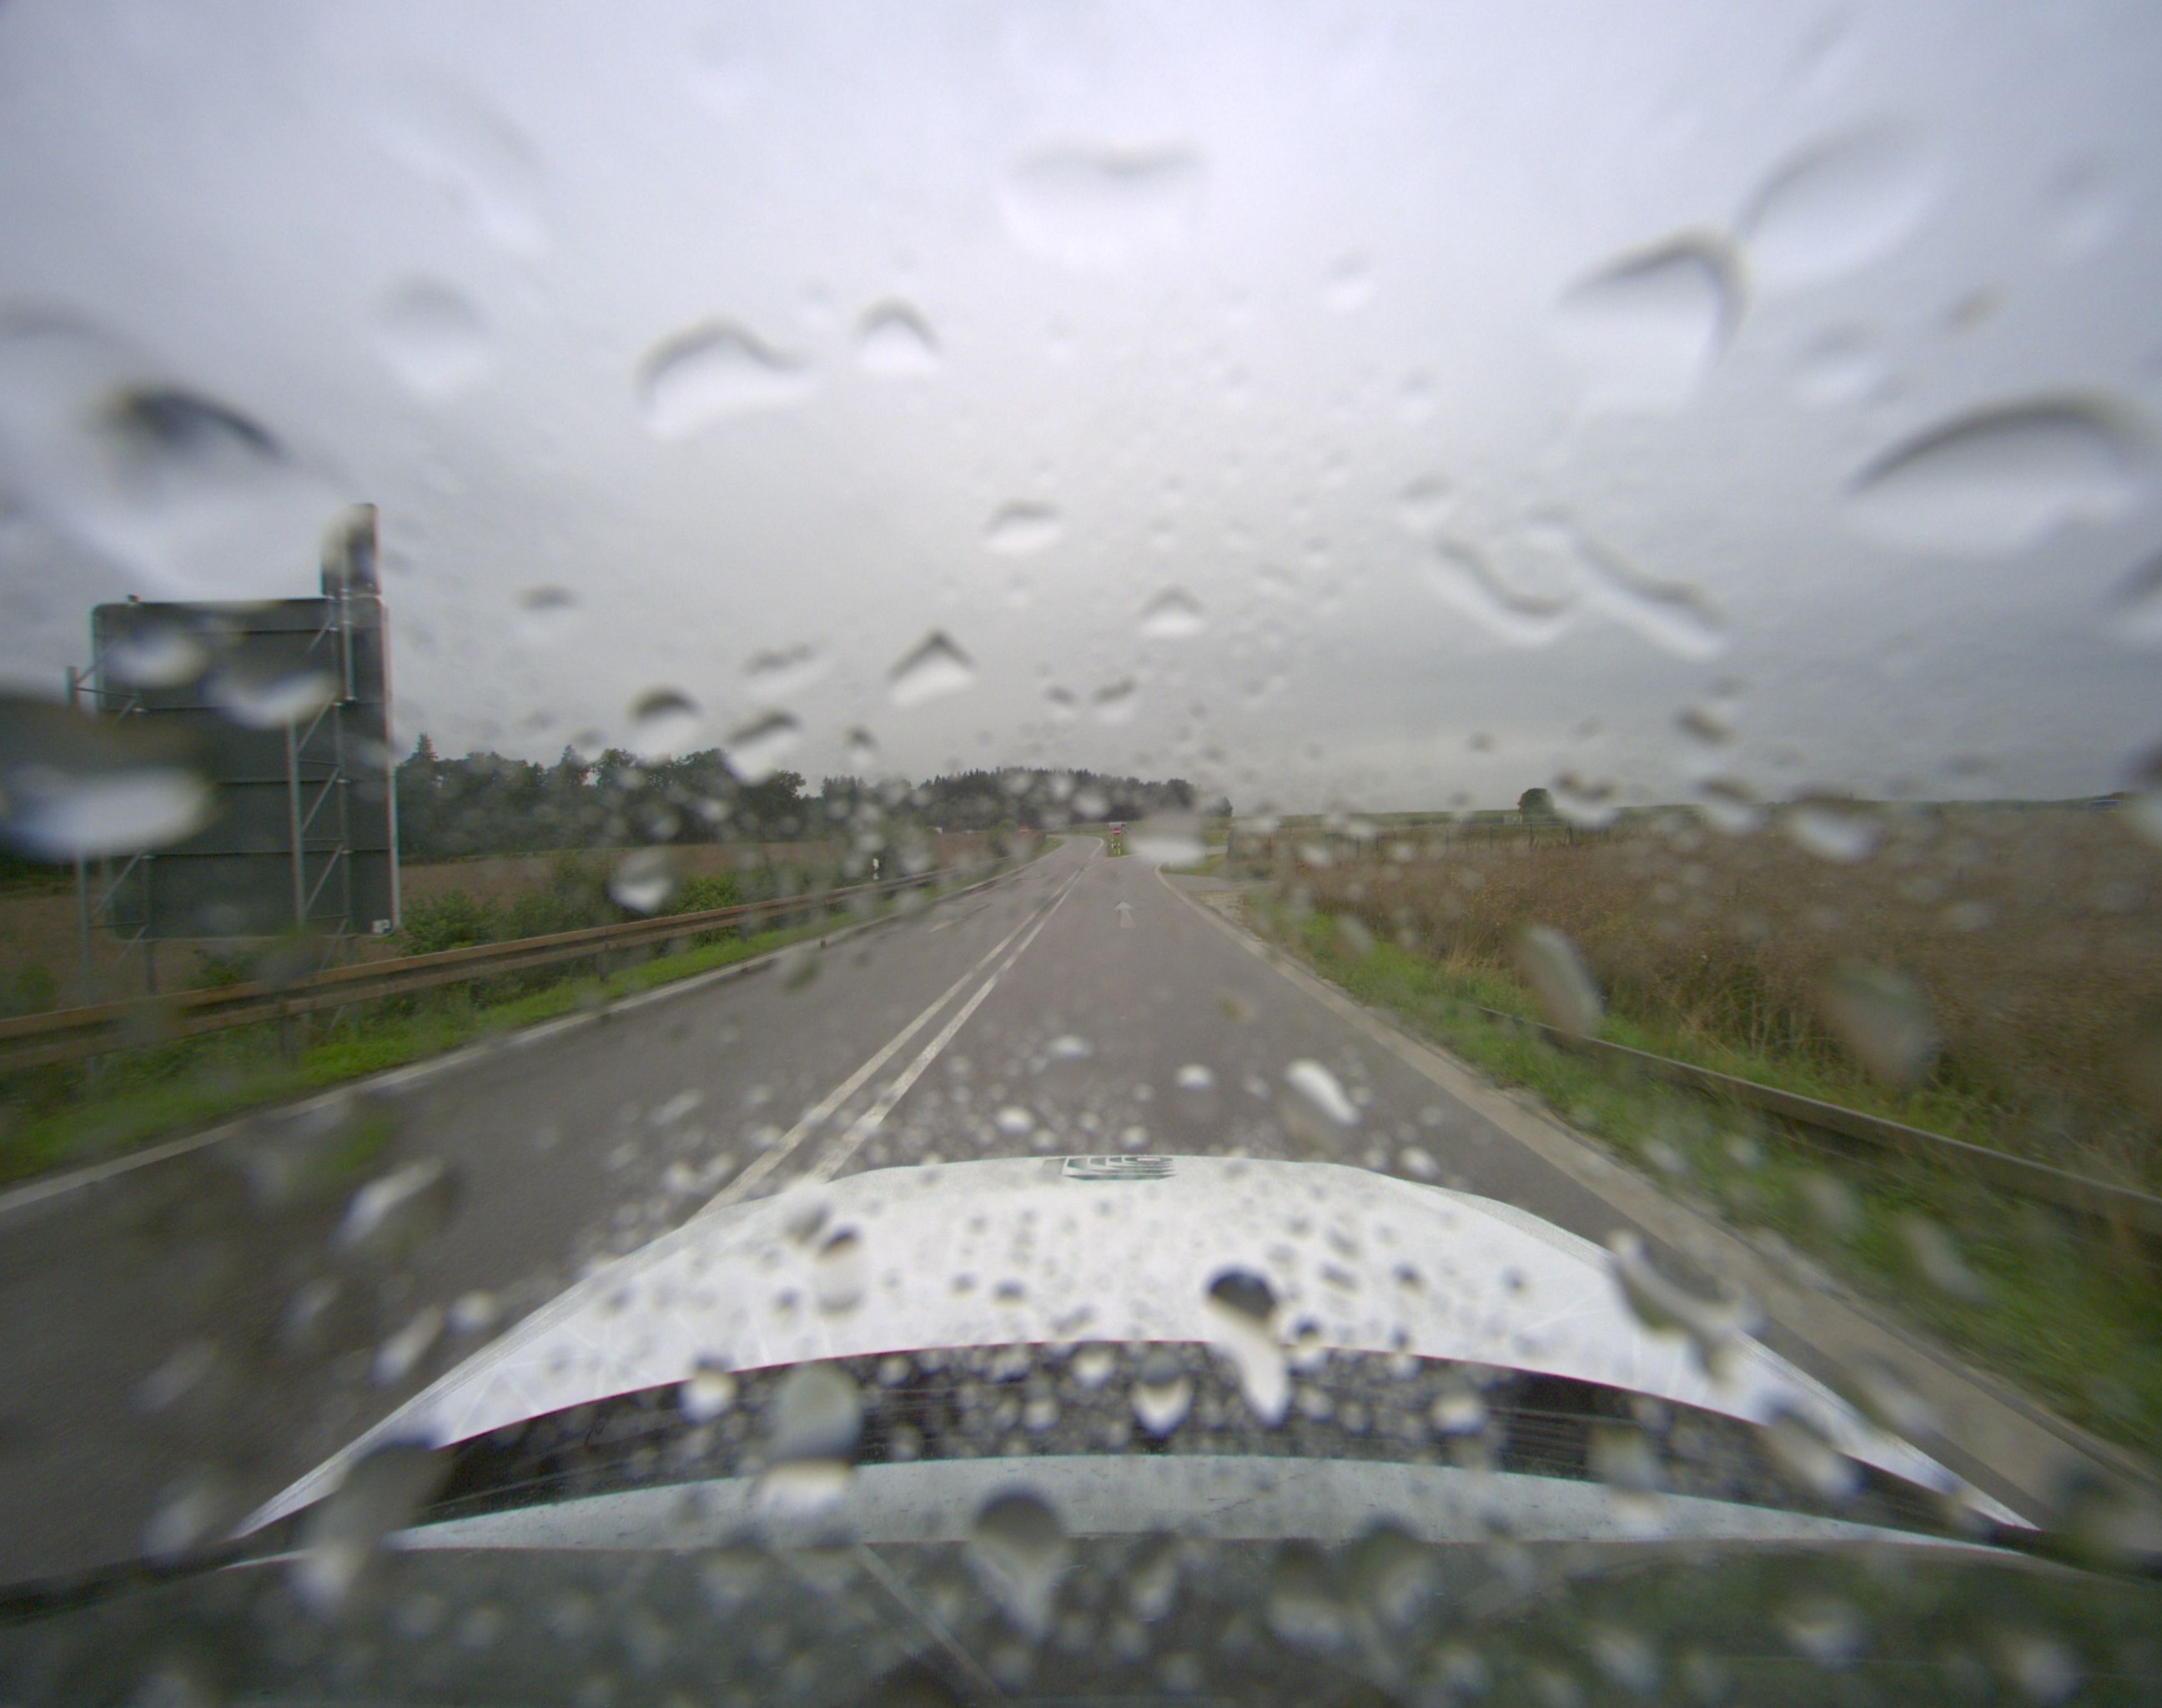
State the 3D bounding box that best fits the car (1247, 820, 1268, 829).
[{"bbox_3d":[36.932,-6.232,170.681,1.745,1.736,3.953,-5,3,-41],"label":"car"}]
